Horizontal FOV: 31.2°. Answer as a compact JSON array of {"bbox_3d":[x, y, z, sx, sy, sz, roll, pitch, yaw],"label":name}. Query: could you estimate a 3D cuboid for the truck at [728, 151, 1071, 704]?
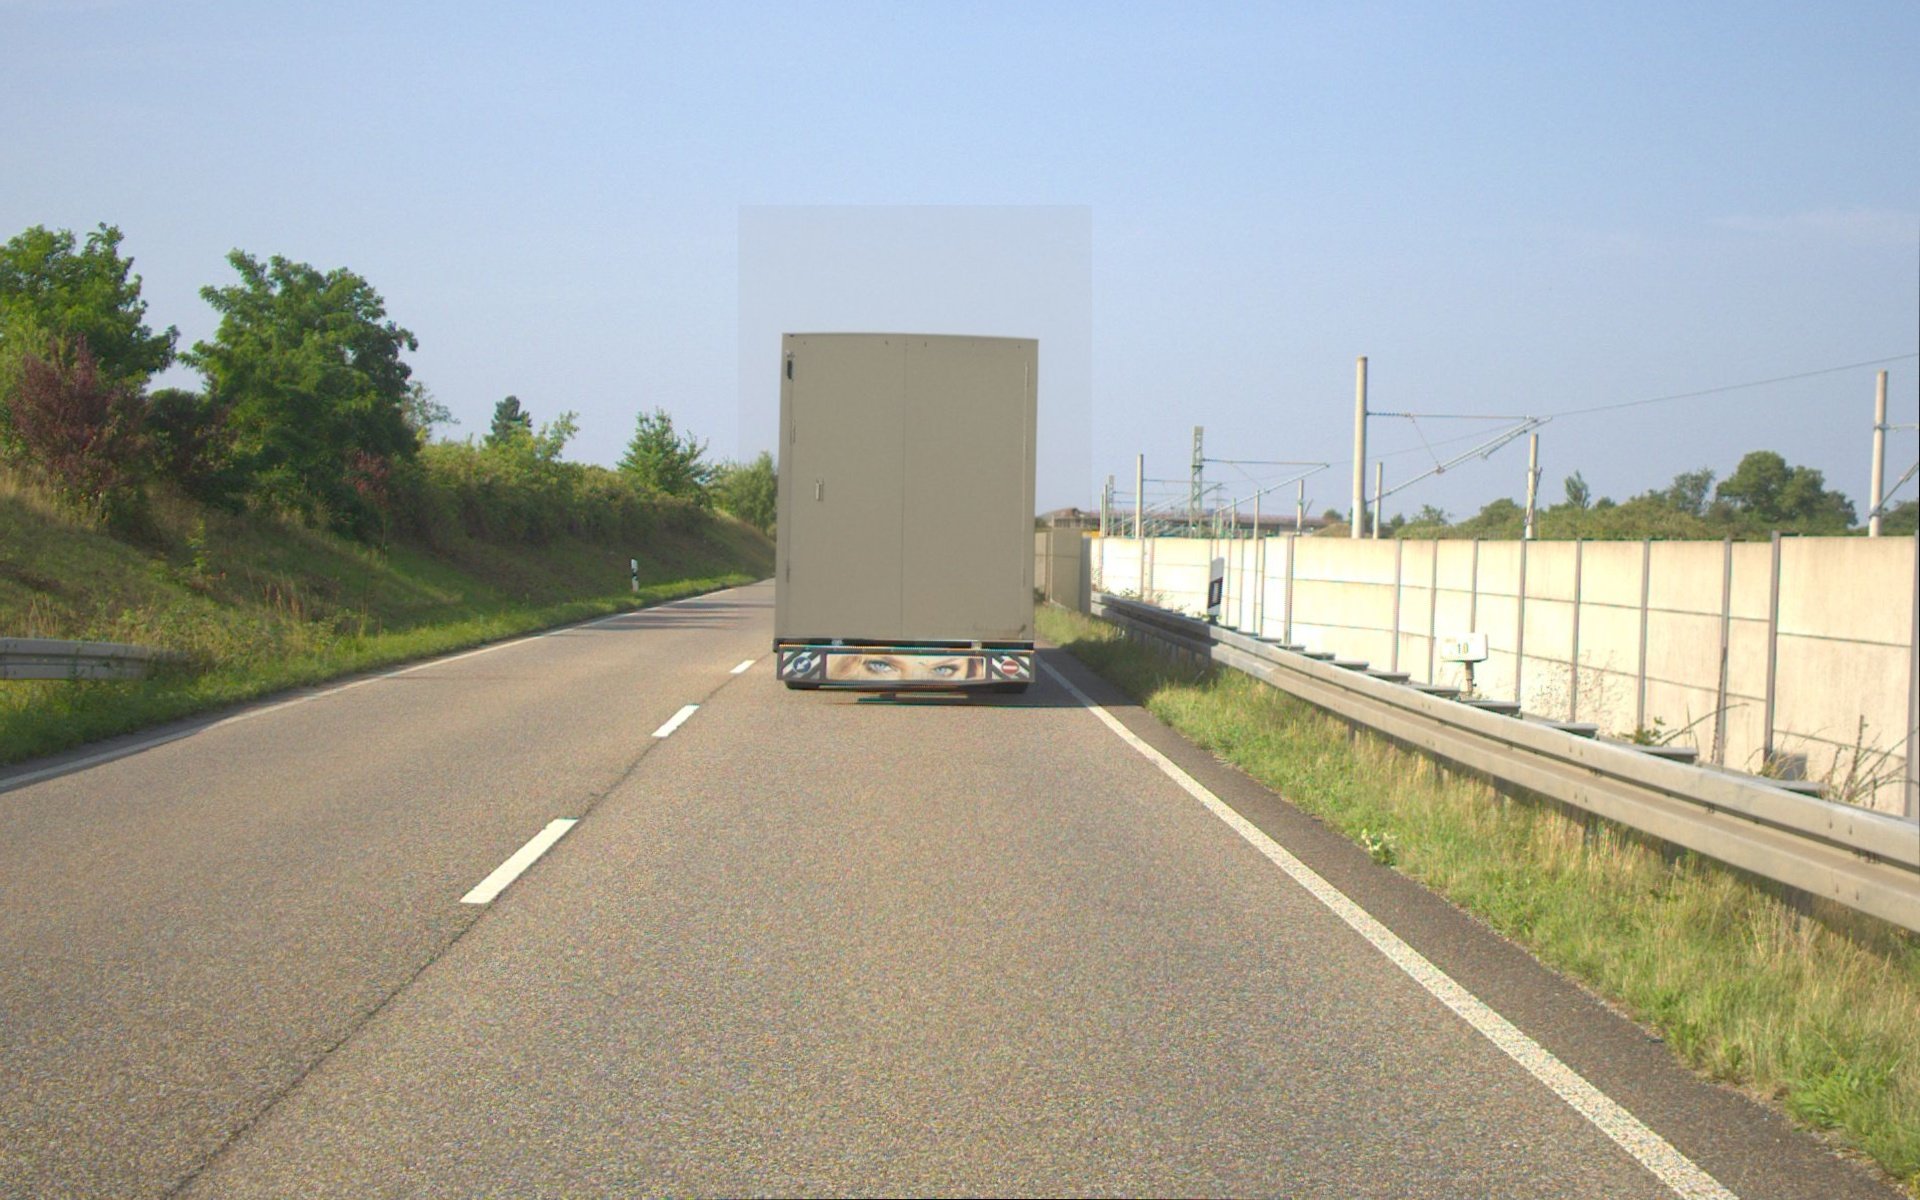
[{"bbox_3d":[-0.671,-1.700,36.423,3.033,4.903,11.686,0,2,-1],"label":"truck"}]
